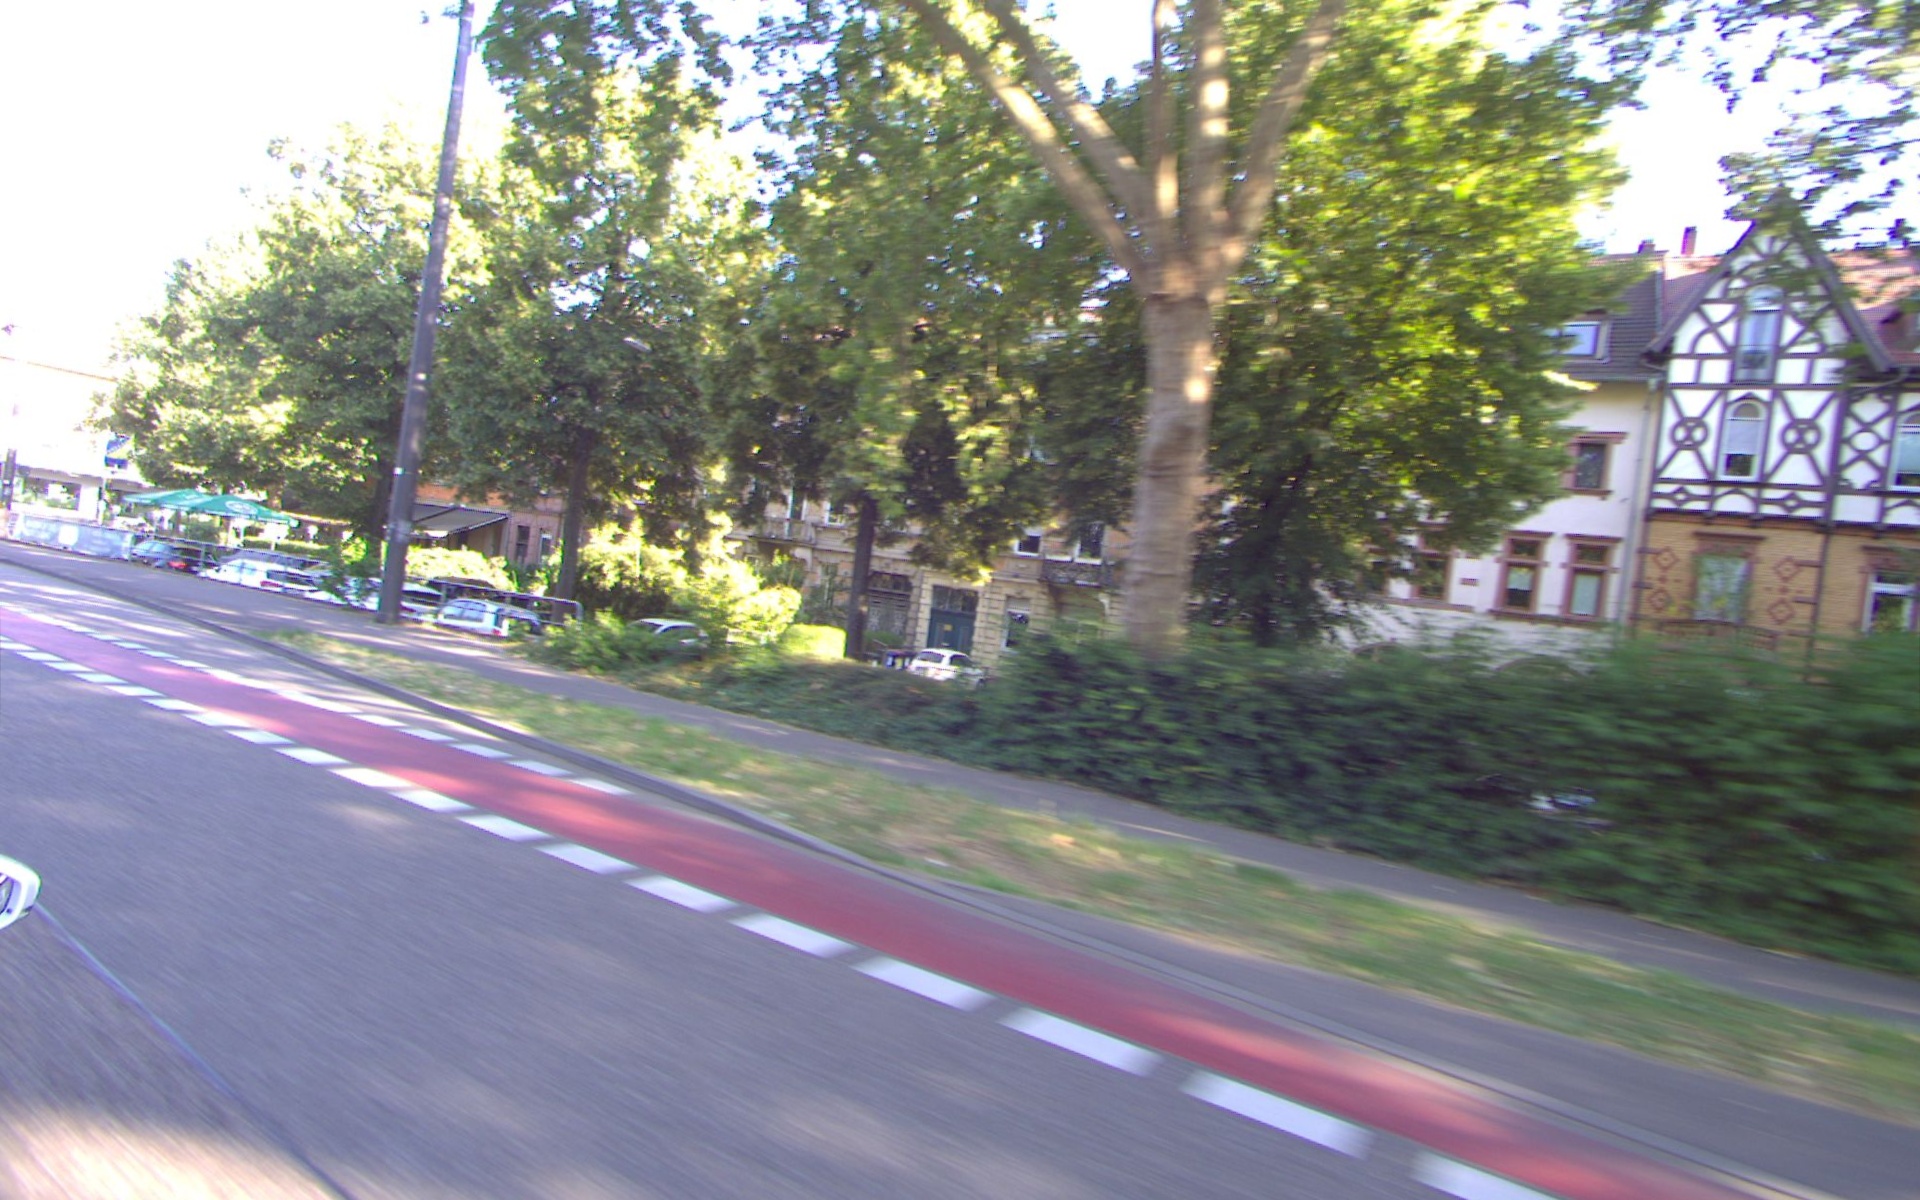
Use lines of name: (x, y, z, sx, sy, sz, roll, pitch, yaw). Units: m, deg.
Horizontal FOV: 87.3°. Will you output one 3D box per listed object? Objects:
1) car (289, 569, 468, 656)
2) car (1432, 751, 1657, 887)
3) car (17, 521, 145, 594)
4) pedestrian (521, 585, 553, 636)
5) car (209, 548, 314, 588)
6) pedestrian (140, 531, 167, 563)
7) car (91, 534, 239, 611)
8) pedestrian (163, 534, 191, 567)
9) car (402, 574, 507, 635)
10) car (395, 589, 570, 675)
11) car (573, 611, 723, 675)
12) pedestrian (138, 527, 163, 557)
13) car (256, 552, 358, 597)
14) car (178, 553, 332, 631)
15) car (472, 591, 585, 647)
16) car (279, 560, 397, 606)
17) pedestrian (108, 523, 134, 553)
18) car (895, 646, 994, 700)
car: (-14.564, 0.297, 25.137, 4.478, 1.596, 1.798, 6, -3, 31)
car: (10.961, 4.053, 19.247, 1.767, 1.529, 3.999, 8, 0, 0)
car: (-29.838, -1.452, 34.139, 4.285, 1.919, 1.799, 6, -2, 30)
pedestrian: (-15.661, 0.391, 37.277, 0.621, 1.767, 0.649, 7, 0, 27)
car: (-29.314, -1.319, 42.378, 1.748, 1.364, 3.996, 8, 0, -5)
pedestrian: (-36.413, -2.386, 45.427, 0.643, 1.352, 0.628, 10, -3, -28)
car: (-24.808, -0.870, 31.383, 4.136, 1.823, 1.801, 6, -2, 25)
pedestrian: (-34.786, -2.203, 44.703, 0.621, 1.352, 0.650, 7, -3, 32)
car: (-17.474, 0.122, 34.966, 1.768, 1.756, 3.995, 8, 0, -6)
car: (-10.849, 0.726, 22.850, 3.517, 1.458, 1.799, 6, -3, 30)
car: (-9.180, 1.319, 29.895, 1.769, 1.532, 3.994, 8, 0, 29)
pedestrian: (-41.073, -2.944, 51.065, 0.621, 1.352, 0.650, 7, -3, 32)
car: (-26.607, -1.016, 41.145, 1.769, 1.498, 3.994, 8, 0, -7)
car: (-19.680, -0.236, 28.052, 4.369, 1.596, 1.798, 6, -3, 31)
car: (-14.334, 0.622, 33.683, 1.766, 1.532, 4.000, 8, 0, 2)
car: (-23.942, -0.618, 38.905, 1.929, 1.423, 4.247, 8, 0, -3)
pedestrian: (-42.352, -3.127, 50.776, 0.621, 1.352, 0.650, 7, -3, 32)
car: (-0.482, 2.528, 34.875, 1.769, 1.540, 3.572, 7, 0, 29)
